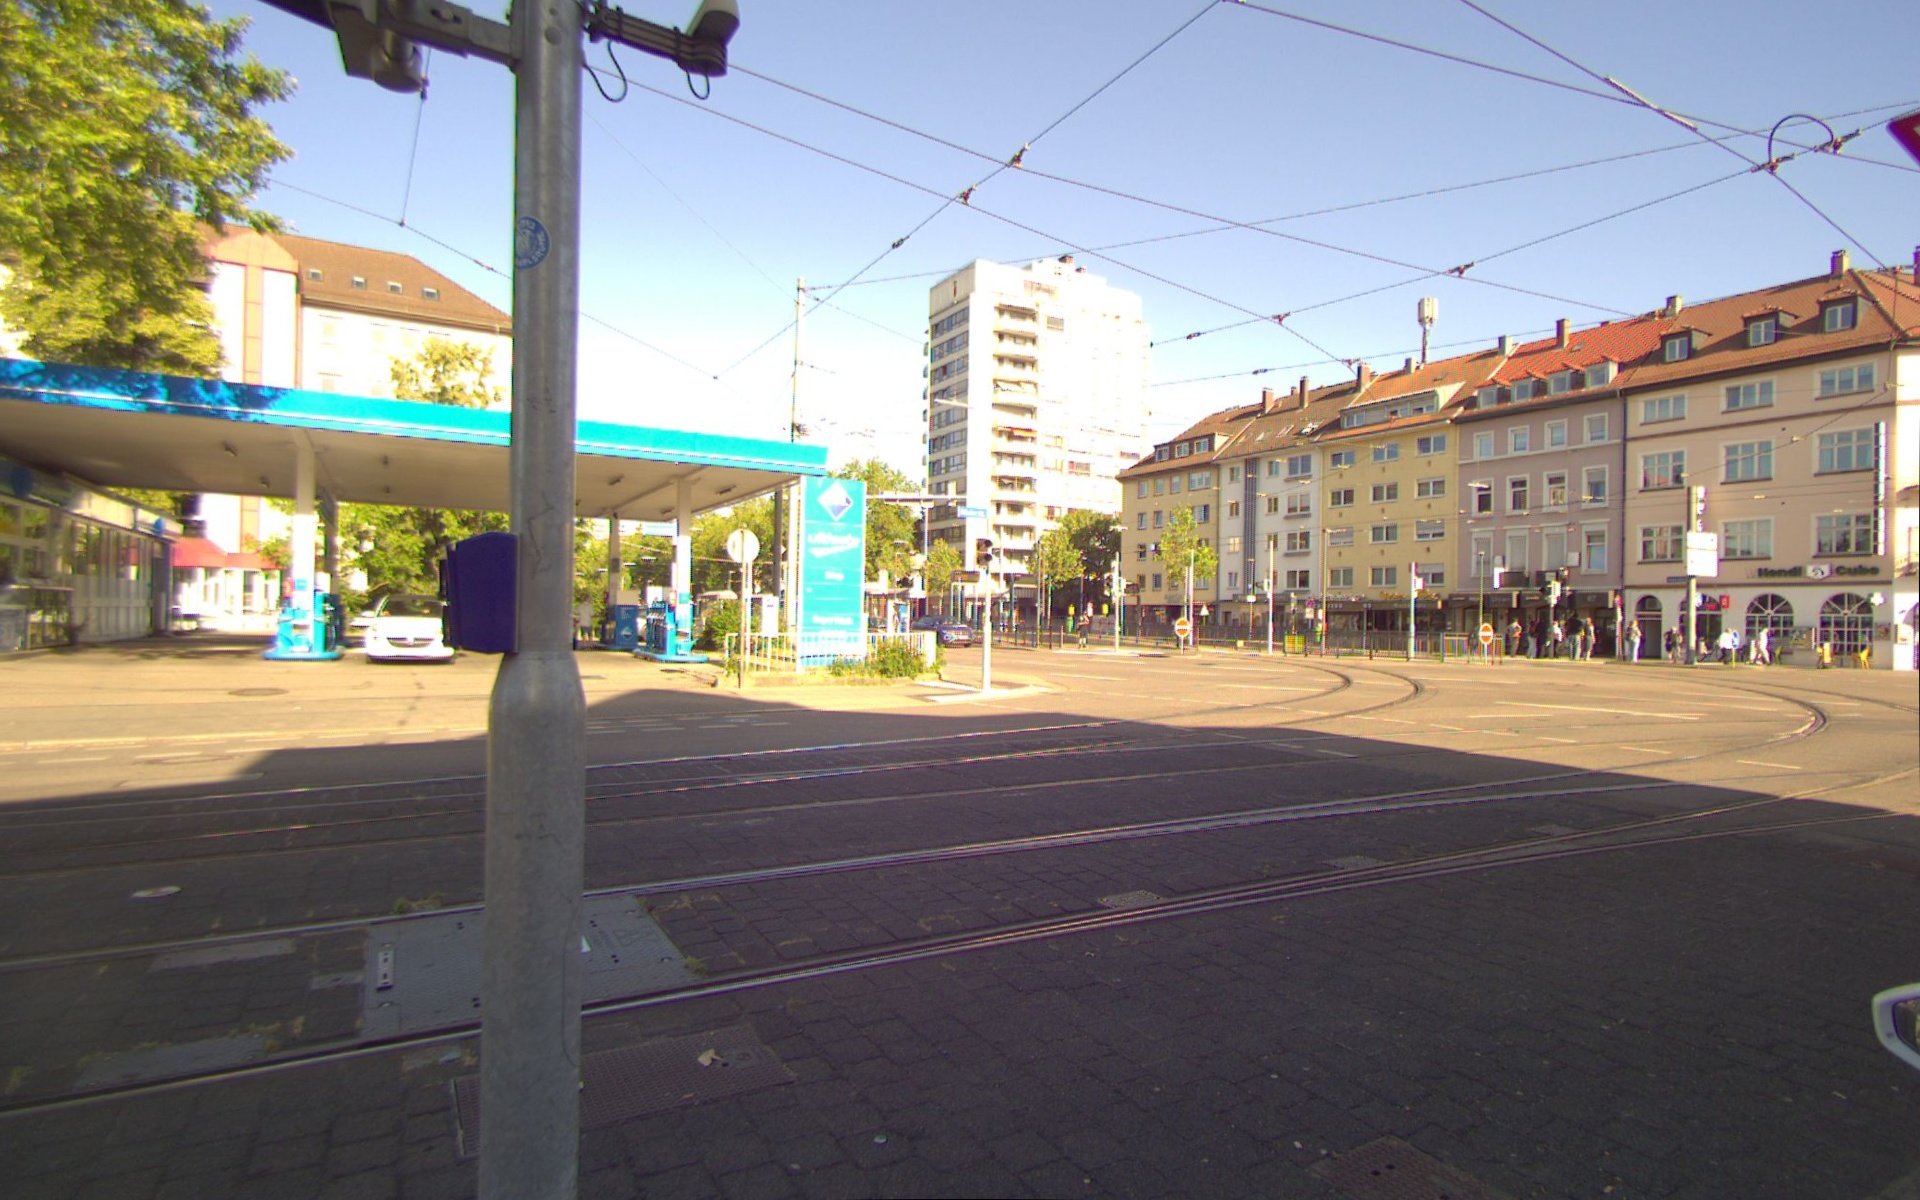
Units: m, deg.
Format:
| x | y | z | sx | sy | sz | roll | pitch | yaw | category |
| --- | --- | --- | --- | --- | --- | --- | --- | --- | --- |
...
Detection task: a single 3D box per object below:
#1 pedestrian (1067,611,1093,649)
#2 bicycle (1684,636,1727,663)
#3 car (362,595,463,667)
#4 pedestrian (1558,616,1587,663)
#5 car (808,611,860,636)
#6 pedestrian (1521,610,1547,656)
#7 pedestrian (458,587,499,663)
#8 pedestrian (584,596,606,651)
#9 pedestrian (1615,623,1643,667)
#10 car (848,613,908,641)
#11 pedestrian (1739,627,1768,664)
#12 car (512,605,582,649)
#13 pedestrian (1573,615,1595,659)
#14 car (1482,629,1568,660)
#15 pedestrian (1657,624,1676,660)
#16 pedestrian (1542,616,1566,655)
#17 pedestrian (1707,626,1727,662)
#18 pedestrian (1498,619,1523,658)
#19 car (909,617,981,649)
| x | y | z | sx | sy | sz | roll | pitch | yaw | category |
| --- | --- | --- | --- | --- | --- | --- | --- | --- | --- |
| 5.260 | 1.302 | 43.969 | 0.788 | 1.632 | 0.766 | 1 | -1 | -36 | pedestrian |
| 37.533 | 2.473 | 50.584 | 1.693 | 1.293 | 0.385 | 0 | -1 | 44 | bicycle |
| -12.353 | 0.667 | 22.559 | 1.793 | 1.461 | 3.966 | 1 | -1 | -31 | car |
| 24.727 | 1.588 | 40.550 | 0.714 | 1.853 | 0.763 | 1 | -1 | -30 | pedestrian |
| -7.610 | 1.395 | 60.318 | 1.697 | 1.439 | 4.149 | 1 | -1 | -28 | car |
| 23.787 | 1.357 | 41.640 | 0.769 | 1.874 | 0.625 | 1 | -1 | -30 | pedestrian |
| -11.144 | 0.570 | 23.237 | 0.753 | 1.715 | 0.581 | 1 | -1 | -34 | pedestrian |
| -11.618 | 0.747 | 31.991 | 0.579 | 1.715 | 0.756 | 1 | -1 | -25 | pedestrian |
| 26.547 | 1.770 | 39.865 | 0.621 | 1.704 | 0.737 | 1 | -1 | -30 | pedestrian |
| -4.483 | 1.442 | 54.308 | 1.697 | 1.439 | 4.149 | 1 | -1 | -28 | car |
| 37.411 | 2.122 | 47.345 | 0.736 | 1.704 | 0.902 | 1 | -1 | -35 | pedestrian |
| -13.574 | 0.852 | 32.880 | 1.697 | 1.360 | 3.970 | 1 | -1 | -28 | car |
| 25.561 | 1.506 | 41.141 | 0.554 | 1.810 | 0.556 | 1 | -1 | -35 | pedestrian |
| 30.747 | 2.400 | 54.780 | 1.795 | 1.511 | 3.715 | 2 | 0 | -27 | car |
| 33.906 | 2.026 | 48.181 | 0.731 | 1.704 | 0.626 | 0 | -1 | 35 | pedestrian |
| 25.038 | 1.495 | 42.345 | 0.554 | 1.602 | 0.694 | 1 | -1 | -35 | pedestrian |
| 36.023 | 2.086 | 47.785 | 0.731 | 1.704 | 0.626 | 0 | -1 | 35 | pedestrian |
| 24.185 | 1.681 | 44.154 | 0.621 | 1.704 | 0.763 | 1 | -1 | -30 | pedestrian |
| -0.771 | 1.530 | 47.872 | 1.697 | 1.439 | 4.149 | 1 | -1 | -28 | car |
